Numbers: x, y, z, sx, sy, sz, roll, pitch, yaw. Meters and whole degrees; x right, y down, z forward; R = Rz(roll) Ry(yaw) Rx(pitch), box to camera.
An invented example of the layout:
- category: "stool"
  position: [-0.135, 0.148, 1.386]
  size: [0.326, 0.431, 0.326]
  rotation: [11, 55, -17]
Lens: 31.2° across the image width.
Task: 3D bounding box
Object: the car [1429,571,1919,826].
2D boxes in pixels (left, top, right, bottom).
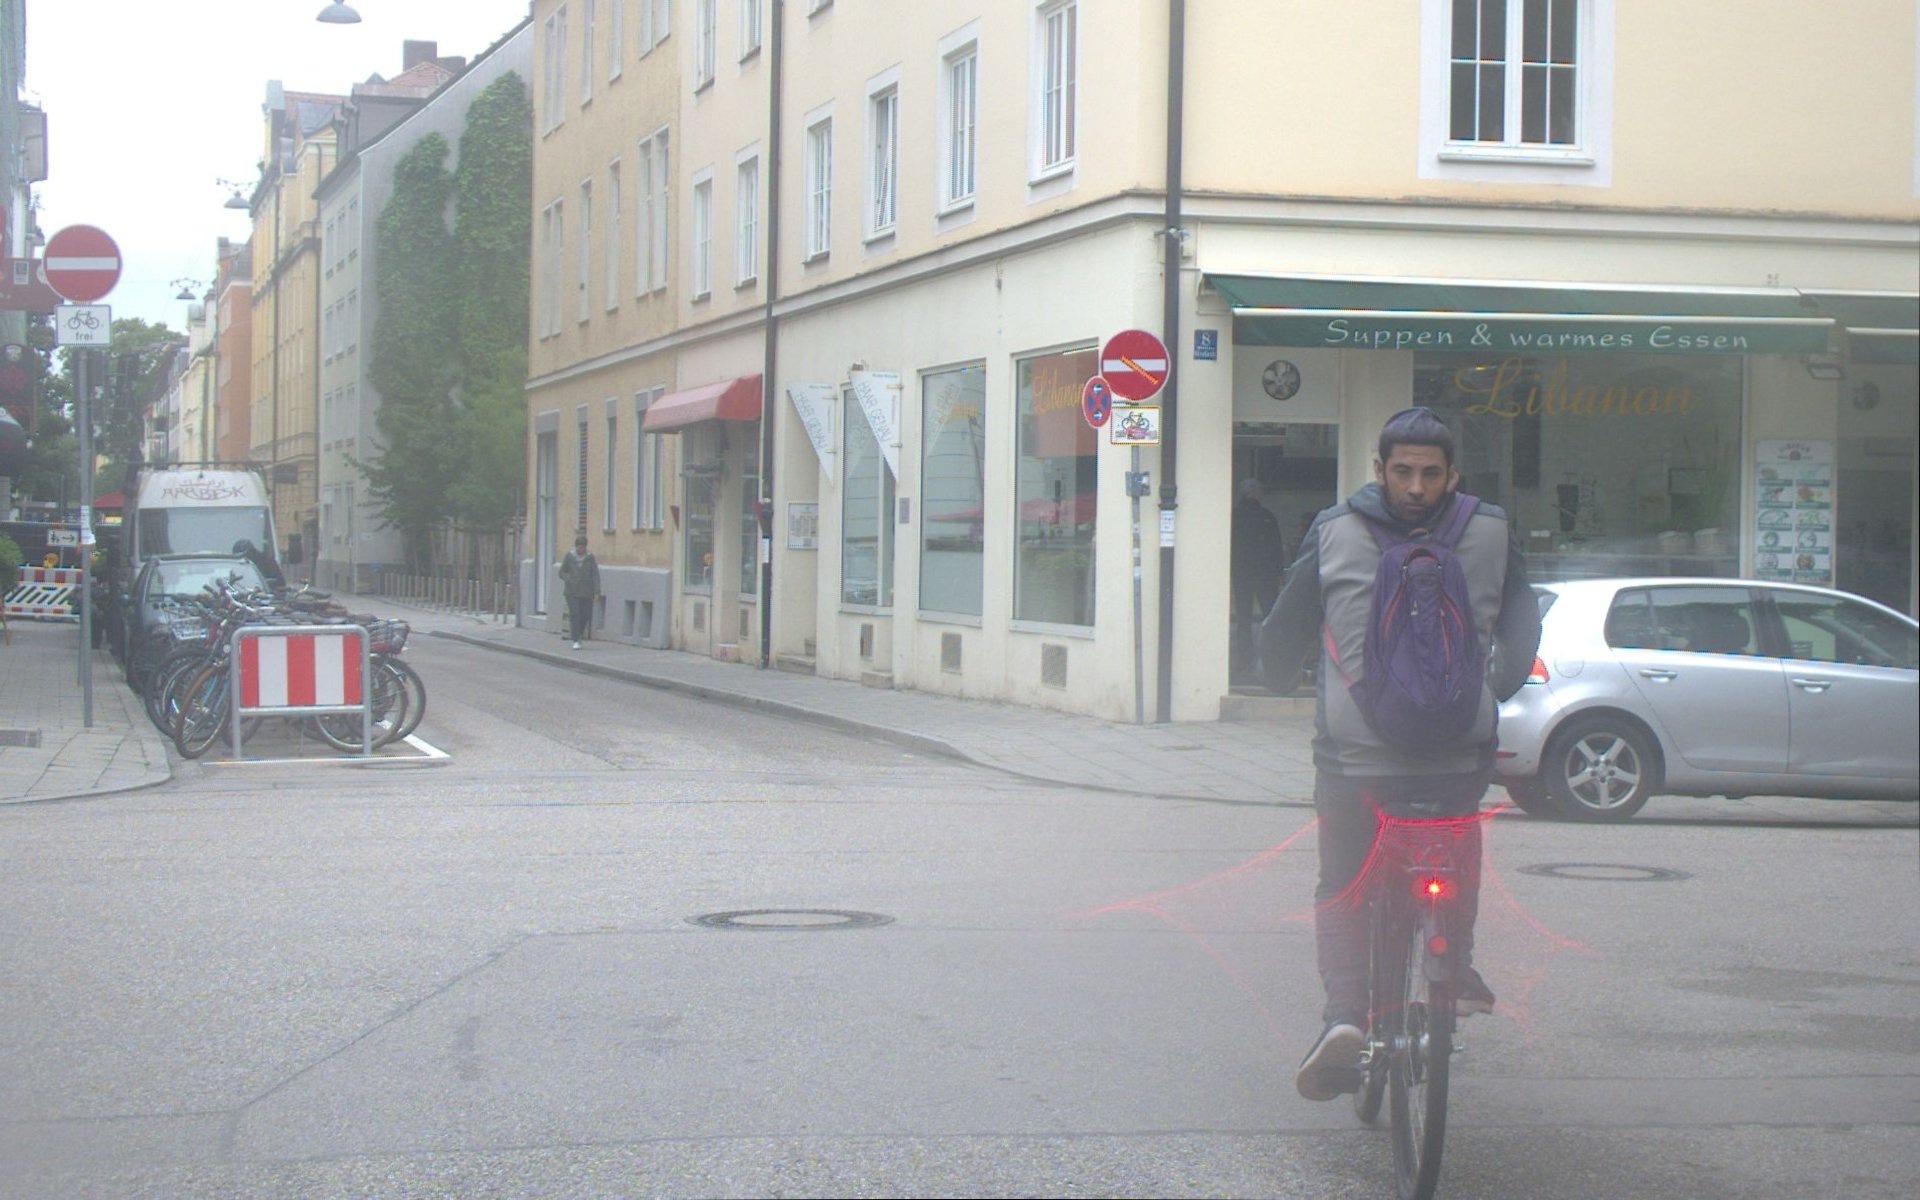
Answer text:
- category: "car"
  position: [4.944, 0.604, 20.645]
  size: [3.987, 1.411, 1.820]
  rotation: [1, -2, 0]

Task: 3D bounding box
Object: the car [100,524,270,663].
- category: "car"
  position: [-9.021, -0.109, 39.948]
  size: [1.832, 1.530, 4.001]
  rotation: [0, 1, -13]

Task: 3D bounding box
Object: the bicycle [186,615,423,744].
- category: "bicycle"
  position: [-5.058, 0.609, 26.518]
  size: [1.735, 0.965, 0.543]
  rotation: [0, 1, -17]

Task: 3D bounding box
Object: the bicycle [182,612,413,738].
- category: "bicycle"
  position: [-5.227, 0.587, 27.122]
  size: [1.735, 0.965, 0.543]
  rotation: [0, 1, -17]

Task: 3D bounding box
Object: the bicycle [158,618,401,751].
- category: "bicycle"
  position: [-5.109, 0.625, 25.802]
  size: [1.735, 0.965, 0.543]
  rotation: [0, 1, -17]

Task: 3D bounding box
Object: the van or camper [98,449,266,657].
- category: "van or camper"
  position: [-10.036, -0.617, 44.473]
  size: [1.993, 2.531, 4.762]
  rotation: [0, 1, -12]

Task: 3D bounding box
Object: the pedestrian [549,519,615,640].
- category: "pedestrian"
  position: [-5.589, -0.308, 50.852]
  size: [0.877, 1.772, 0.774]
  rotation: [0, 1, -13]

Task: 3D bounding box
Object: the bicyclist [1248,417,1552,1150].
- category: "bicyclist"
  position: [0.995, 0.392, 7.913]
  size: [0.606, 1.601, 0.757]
  rotation: [1, 2, 2]

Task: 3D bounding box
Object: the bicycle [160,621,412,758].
- category: "bicycle"
  position: [-4.929, 0.644, 25.137]
  size: [1.754, 0.965, 0.595]
  rotation: [0, 1, -17]

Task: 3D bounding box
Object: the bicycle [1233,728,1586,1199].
- category: "bicycle"
  position: [0.992, 0.843, 7.905]
  size: [0.639, 1.001, 1.574]
  rotation: [1, 1, 2]

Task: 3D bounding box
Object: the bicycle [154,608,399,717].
- category: "bicycle"
  position: [-5.620, 0.509, 28.263]
  size: [1.910, 0.860, 0.619]
  rotation: [0, 1, -17]
